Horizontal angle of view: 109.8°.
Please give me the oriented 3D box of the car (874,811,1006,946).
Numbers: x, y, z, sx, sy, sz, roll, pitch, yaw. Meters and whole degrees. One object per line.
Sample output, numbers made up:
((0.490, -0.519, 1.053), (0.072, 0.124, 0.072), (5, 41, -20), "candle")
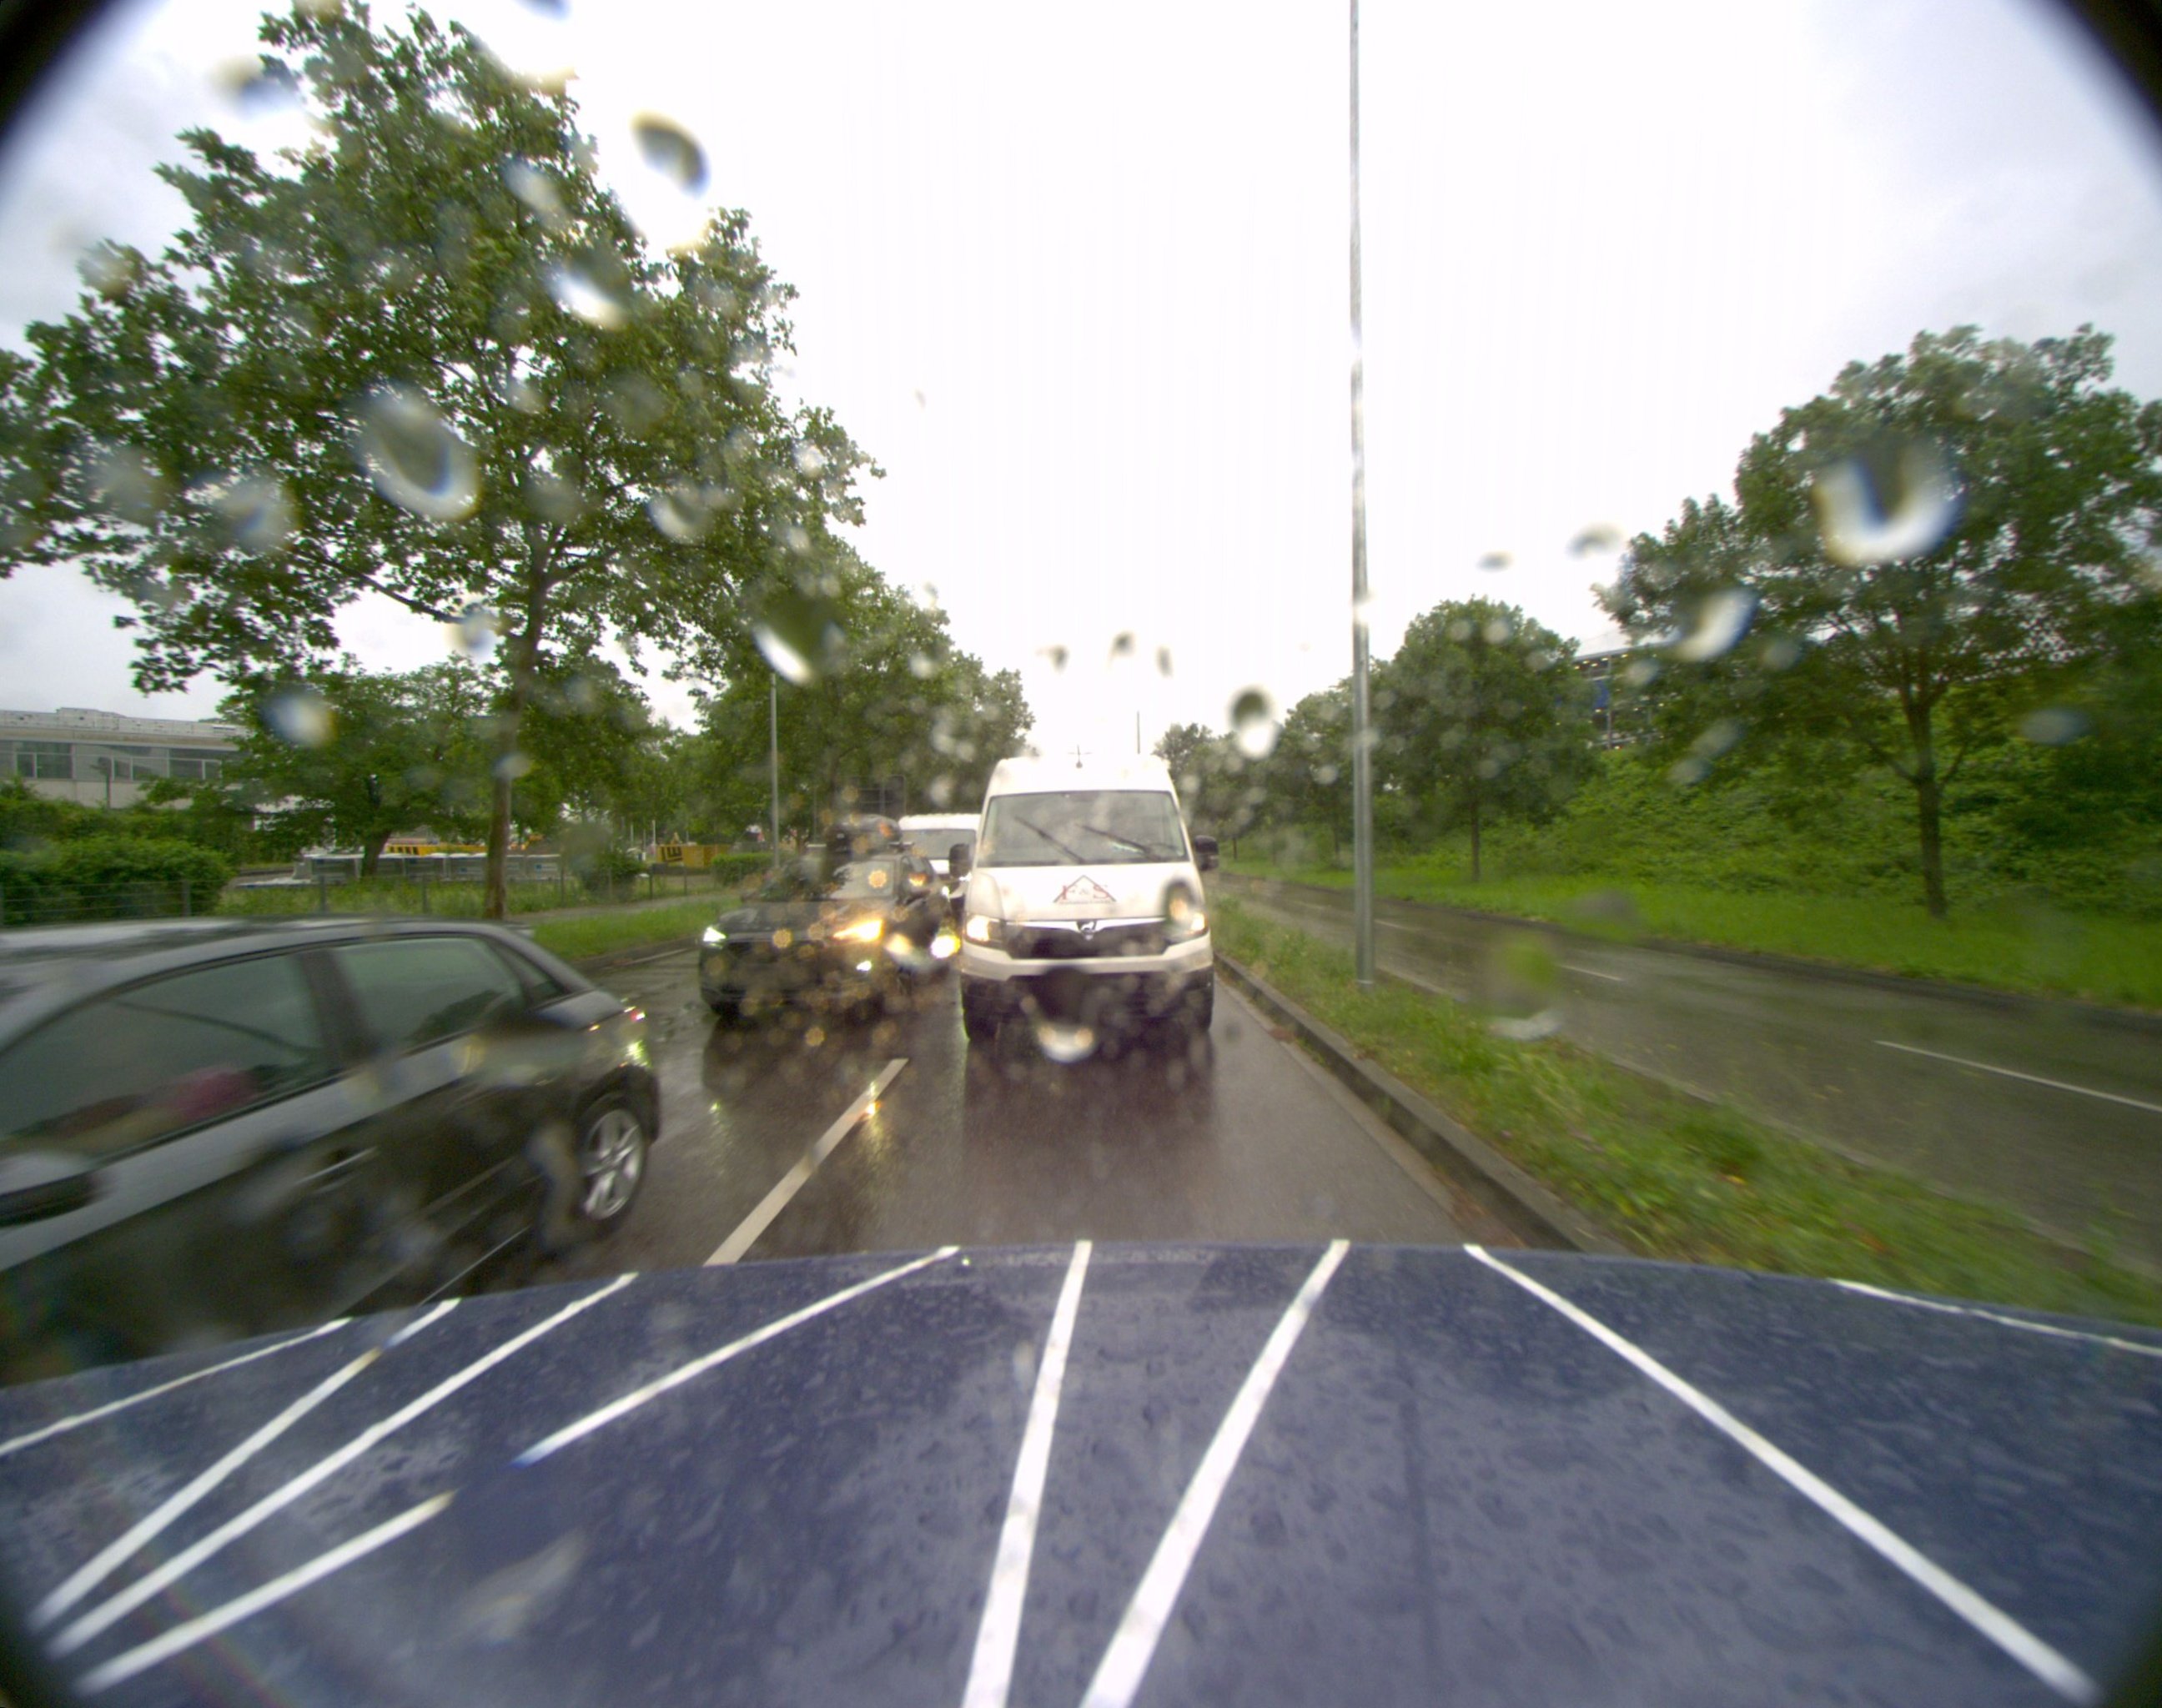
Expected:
((-2.843, 0.425, 16.575), (1.894, 2.432, 5.317), (-1, 1, -1), "car")

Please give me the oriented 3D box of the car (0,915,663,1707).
((-2.779, 1.024, 1.559), (1.680, 1.419, 3.781), (-1, 1, 1), "car")

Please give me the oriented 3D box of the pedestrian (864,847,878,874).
((-13.284, 0.402, 48.025), (0.646, 1.707, 0.656), (-2, 2, 1), "pedestrian")

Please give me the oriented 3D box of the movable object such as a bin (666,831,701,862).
((-46.613, -0.833, 88.991), (4.924, 3.415, 1.922), (-1, 2, 42), "movable object such as a bin")

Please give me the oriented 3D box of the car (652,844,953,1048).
((-2.719, 0.757, 8.636), (1.894, 1.688, 4.422), (-1, 1, -2), "car")

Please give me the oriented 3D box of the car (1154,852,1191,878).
((5.688, 0.677, 47.692), (1.820, 1.454, 3.999), (2, 1, 0), "car")

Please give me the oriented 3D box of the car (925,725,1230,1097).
((-0.065, 0.365, 8.019), (2.027, 2.498, 5.694), (-1, 1, -1), "car")

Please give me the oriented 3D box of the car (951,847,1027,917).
((-2.730, 0.764, 23.453), (1.807, 1.902, 4.546), (-1, 1, -1), "car")
